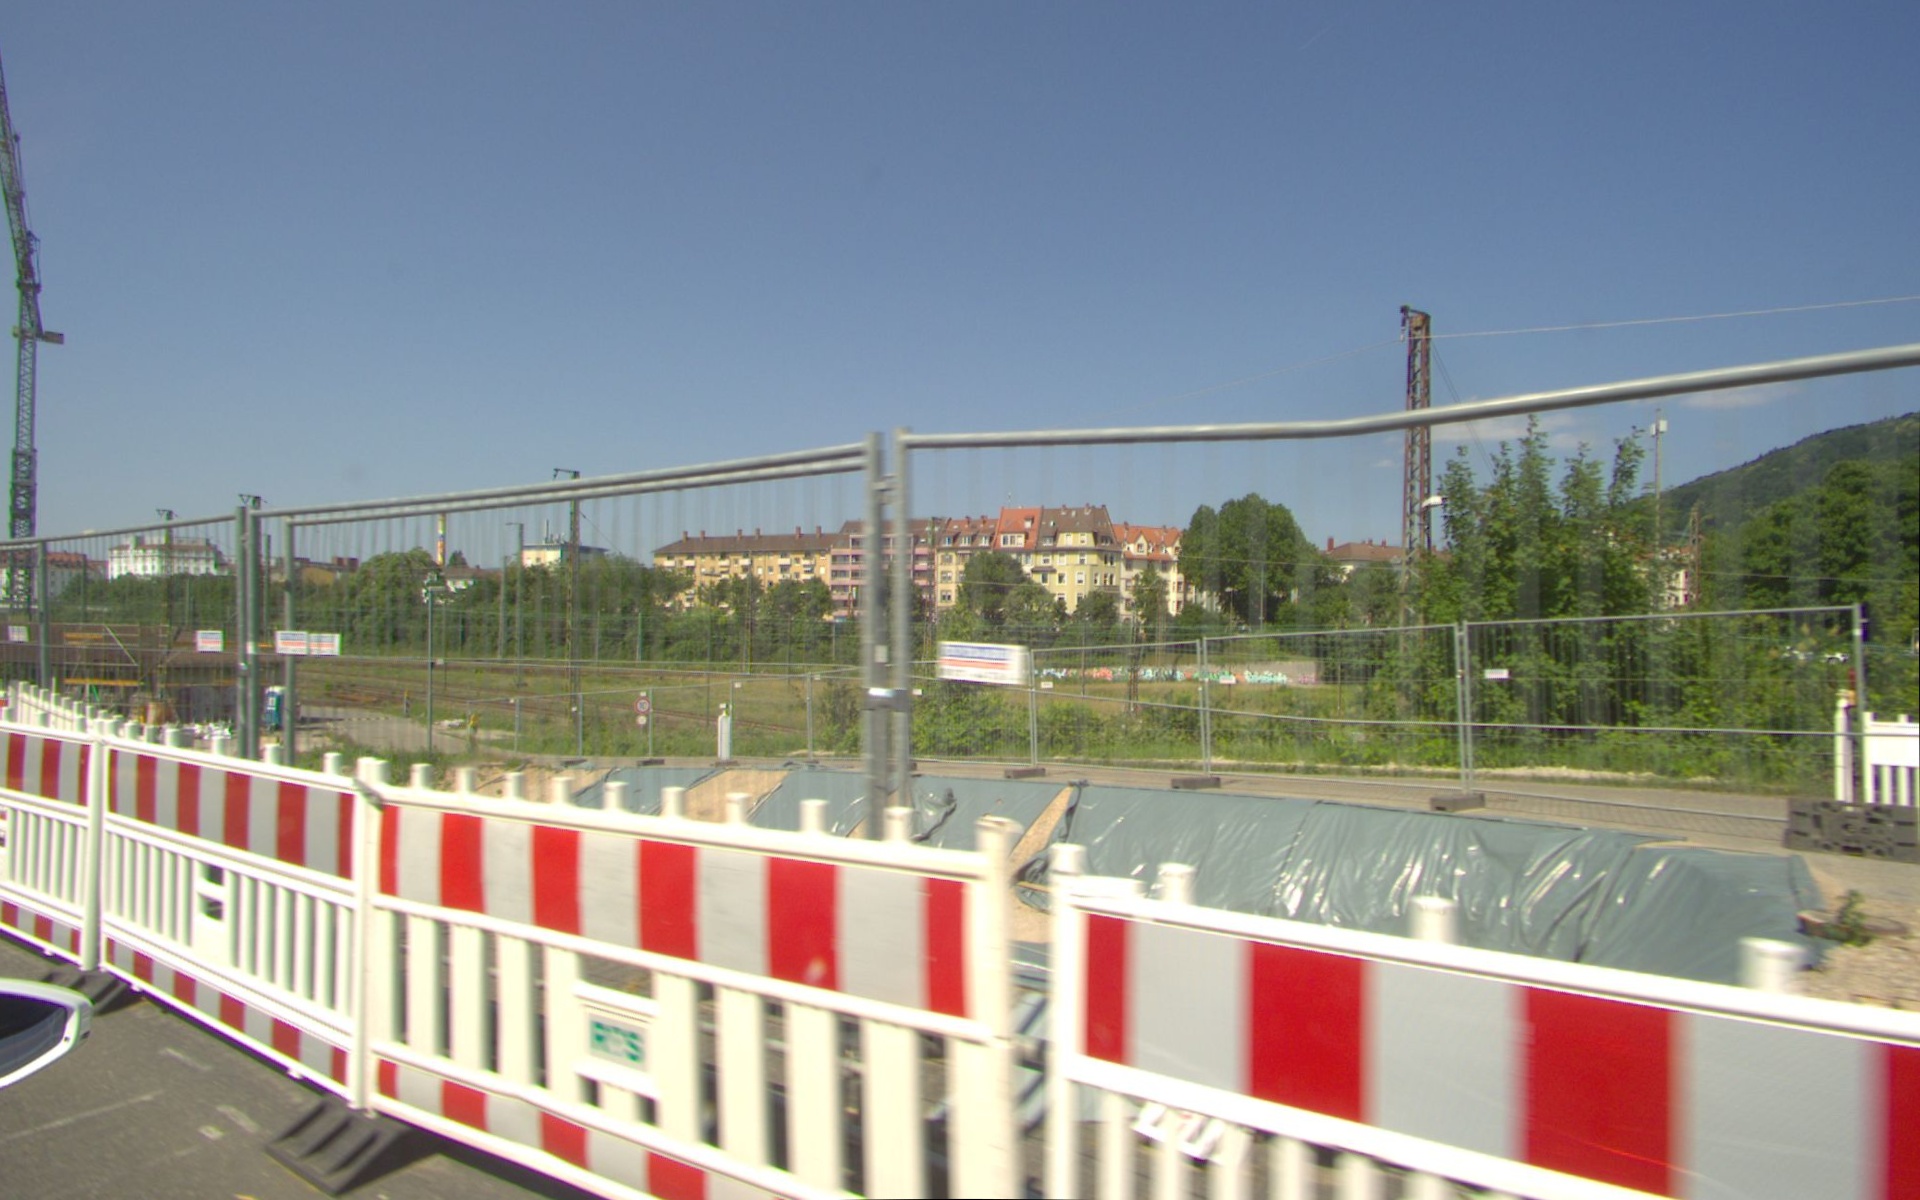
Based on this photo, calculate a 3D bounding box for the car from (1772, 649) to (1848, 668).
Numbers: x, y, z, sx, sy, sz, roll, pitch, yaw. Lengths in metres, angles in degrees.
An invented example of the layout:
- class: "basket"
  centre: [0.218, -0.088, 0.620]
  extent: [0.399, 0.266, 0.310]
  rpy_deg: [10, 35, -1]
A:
- class: "car"
  centre: [68.537, 4.687, 80.783]
  extent: [1.837, 1.384, 4.299]
  rpy_deg: [2, -2, -26]

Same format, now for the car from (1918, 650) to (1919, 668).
- class: "car"
  centre: [72.453, 4.347, 72.761]
  extent: [1.758, 1.384, 3.824]
  rpy_deg: [2, -2, -29]

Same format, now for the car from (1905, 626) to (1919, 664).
- class: "car"
  centre: [74.306, 3.394, 75.177]
  extent: [1.842, 2.888, 4.610]
  rpy_deg: [2, -2, -34]
